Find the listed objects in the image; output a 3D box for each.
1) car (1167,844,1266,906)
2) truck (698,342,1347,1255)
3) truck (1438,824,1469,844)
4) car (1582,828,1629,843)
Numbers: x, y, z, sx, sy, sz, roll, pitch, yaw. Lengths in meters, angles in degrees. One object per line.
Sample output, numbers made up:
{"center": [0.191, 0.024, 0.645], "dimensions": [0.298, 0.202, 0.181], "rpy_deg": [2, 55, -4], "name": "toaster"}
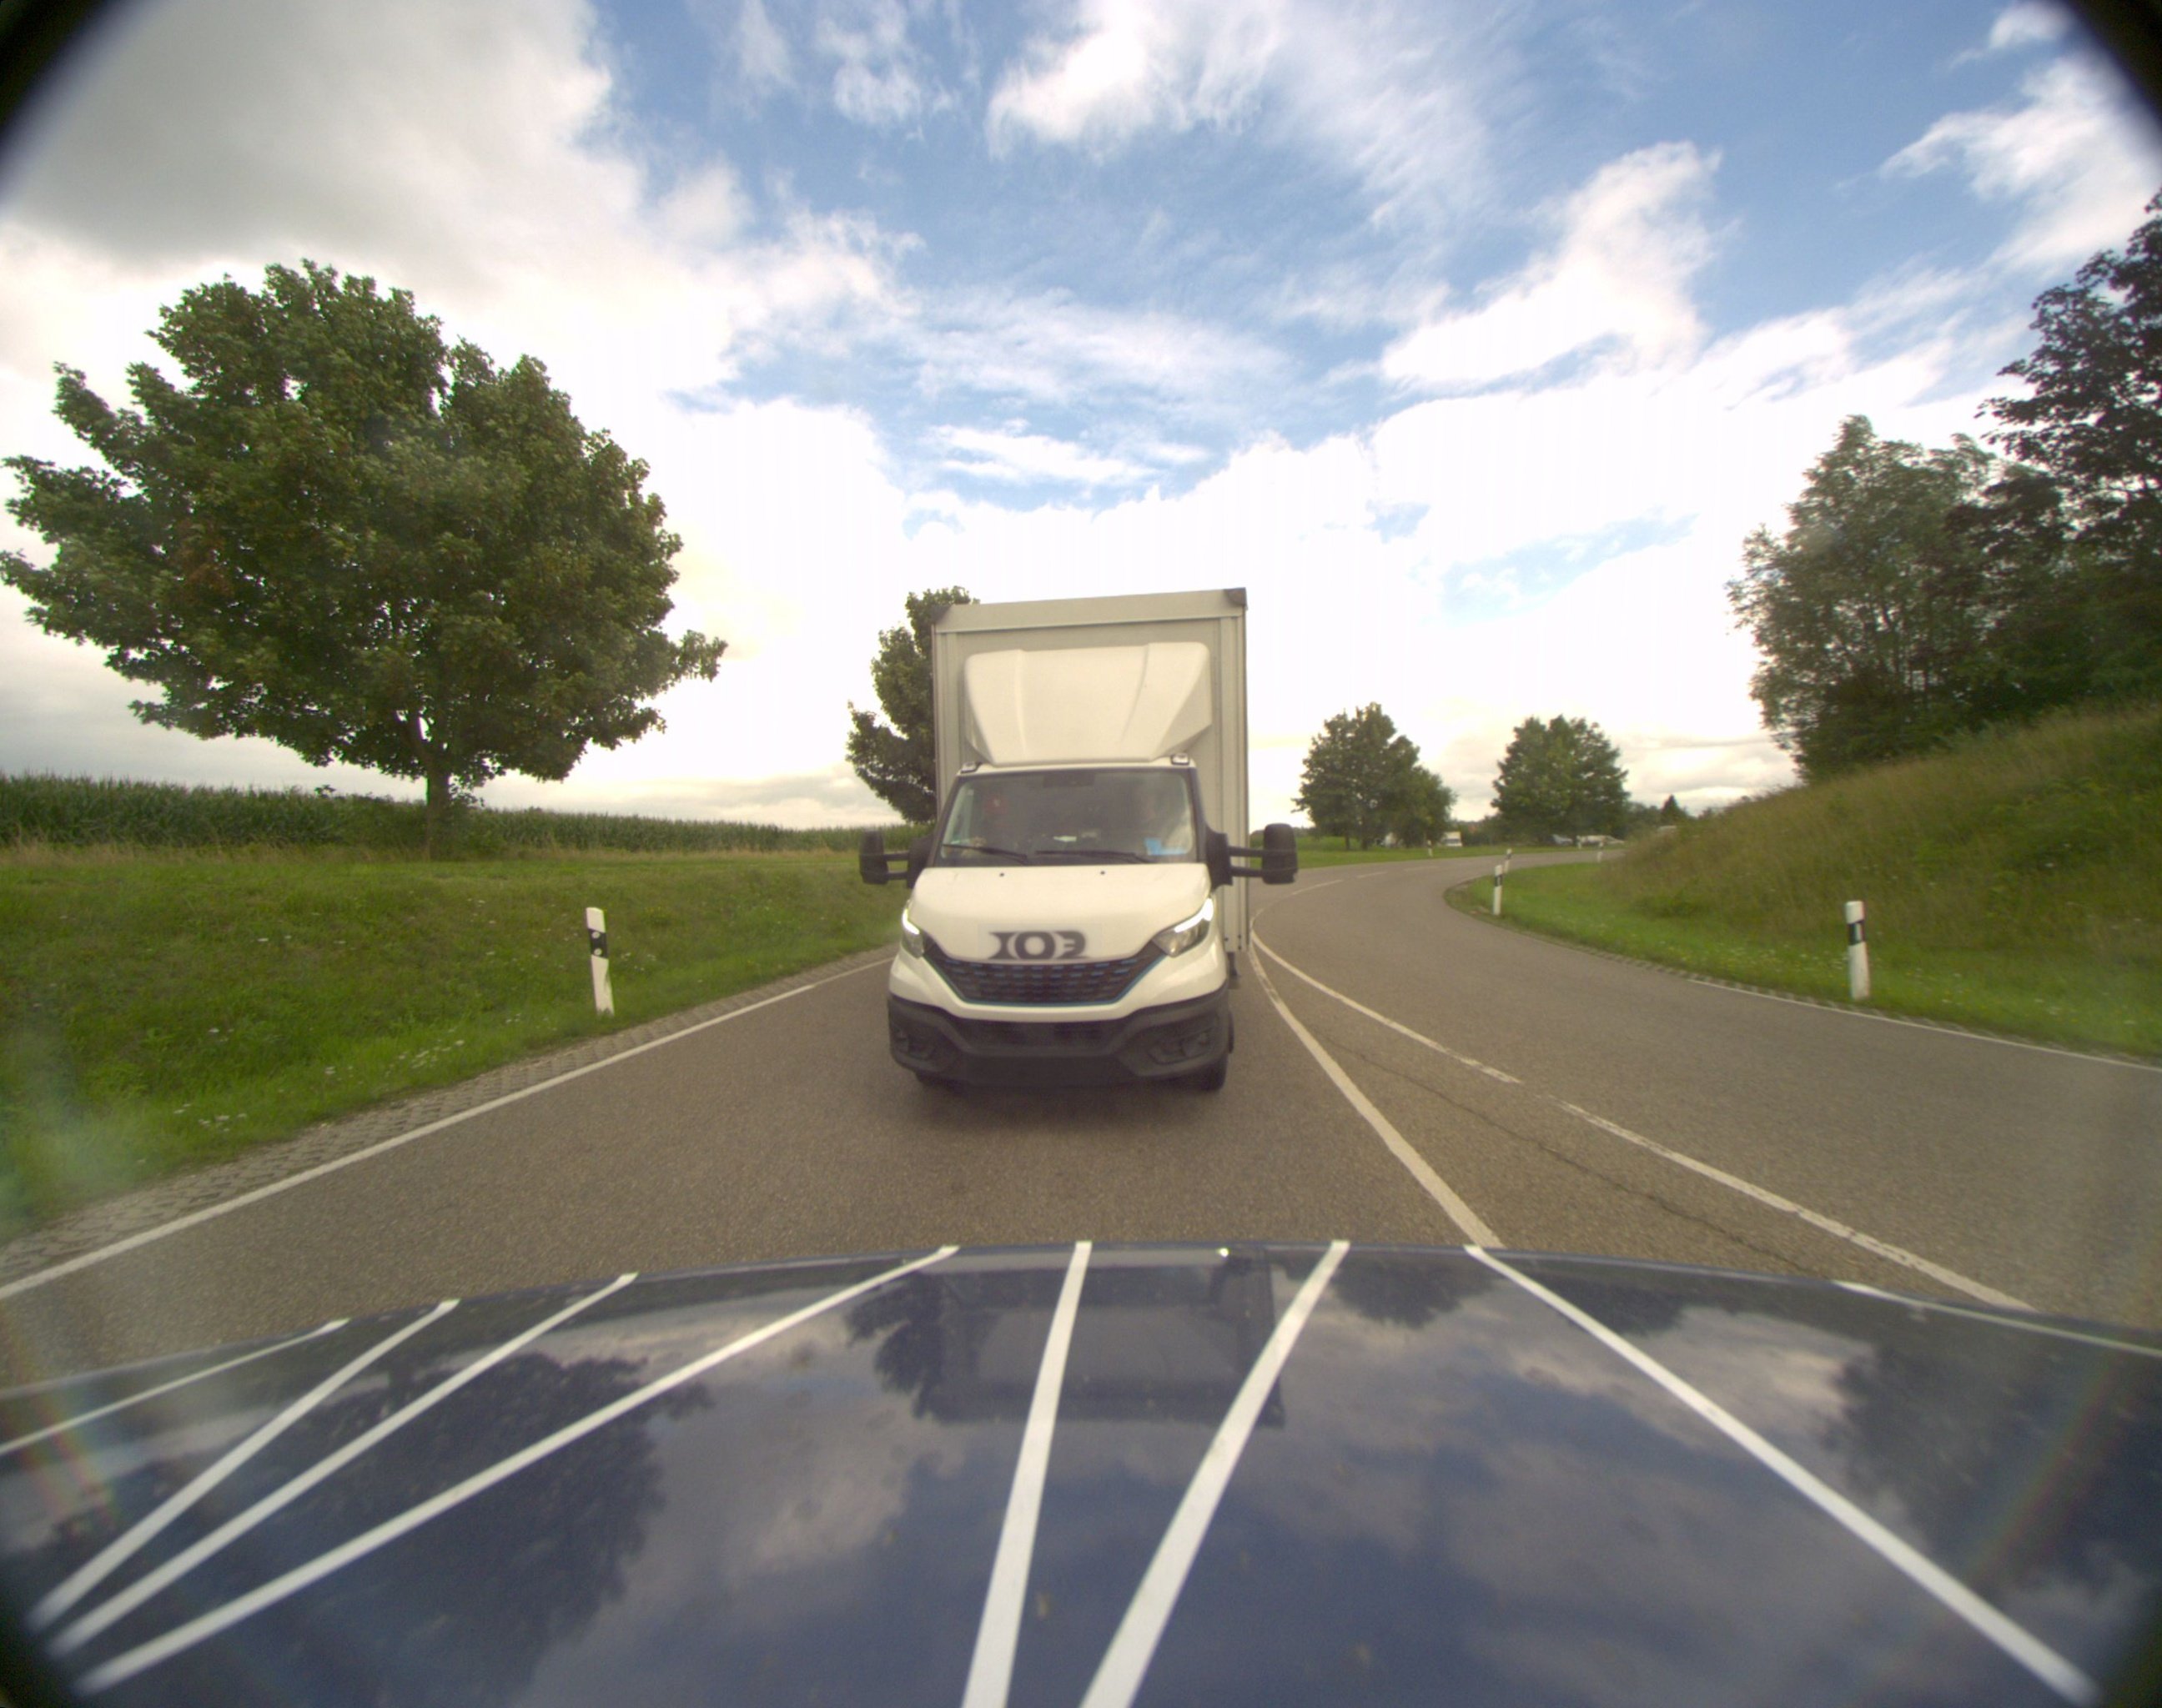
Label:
{"center": [3.732, 0.506, 20.361], "dimensions": [1.747, 1.457, 4.006], "rpy_deg": [-2, 0, 22], "name": "car"}
{"center": [0.353, -0.308, 7.676], "dimensions": [2.835, 3.743, 8.803], "rpy_deg": [-1, 2, 9], "name": "truck"}
{"center": [48.493, -2.596, 99.018], "dimensions": [2.288, 2.407, 6.388], "rpy_deg": [-2, 1, 14], "name": "truck"}
{"center": [62.842, -2.230, 91.145], "dimensions": [4.393, 1.576, 2.003], "rpy_deg": [-2, 1, 25], "name": "car"}
